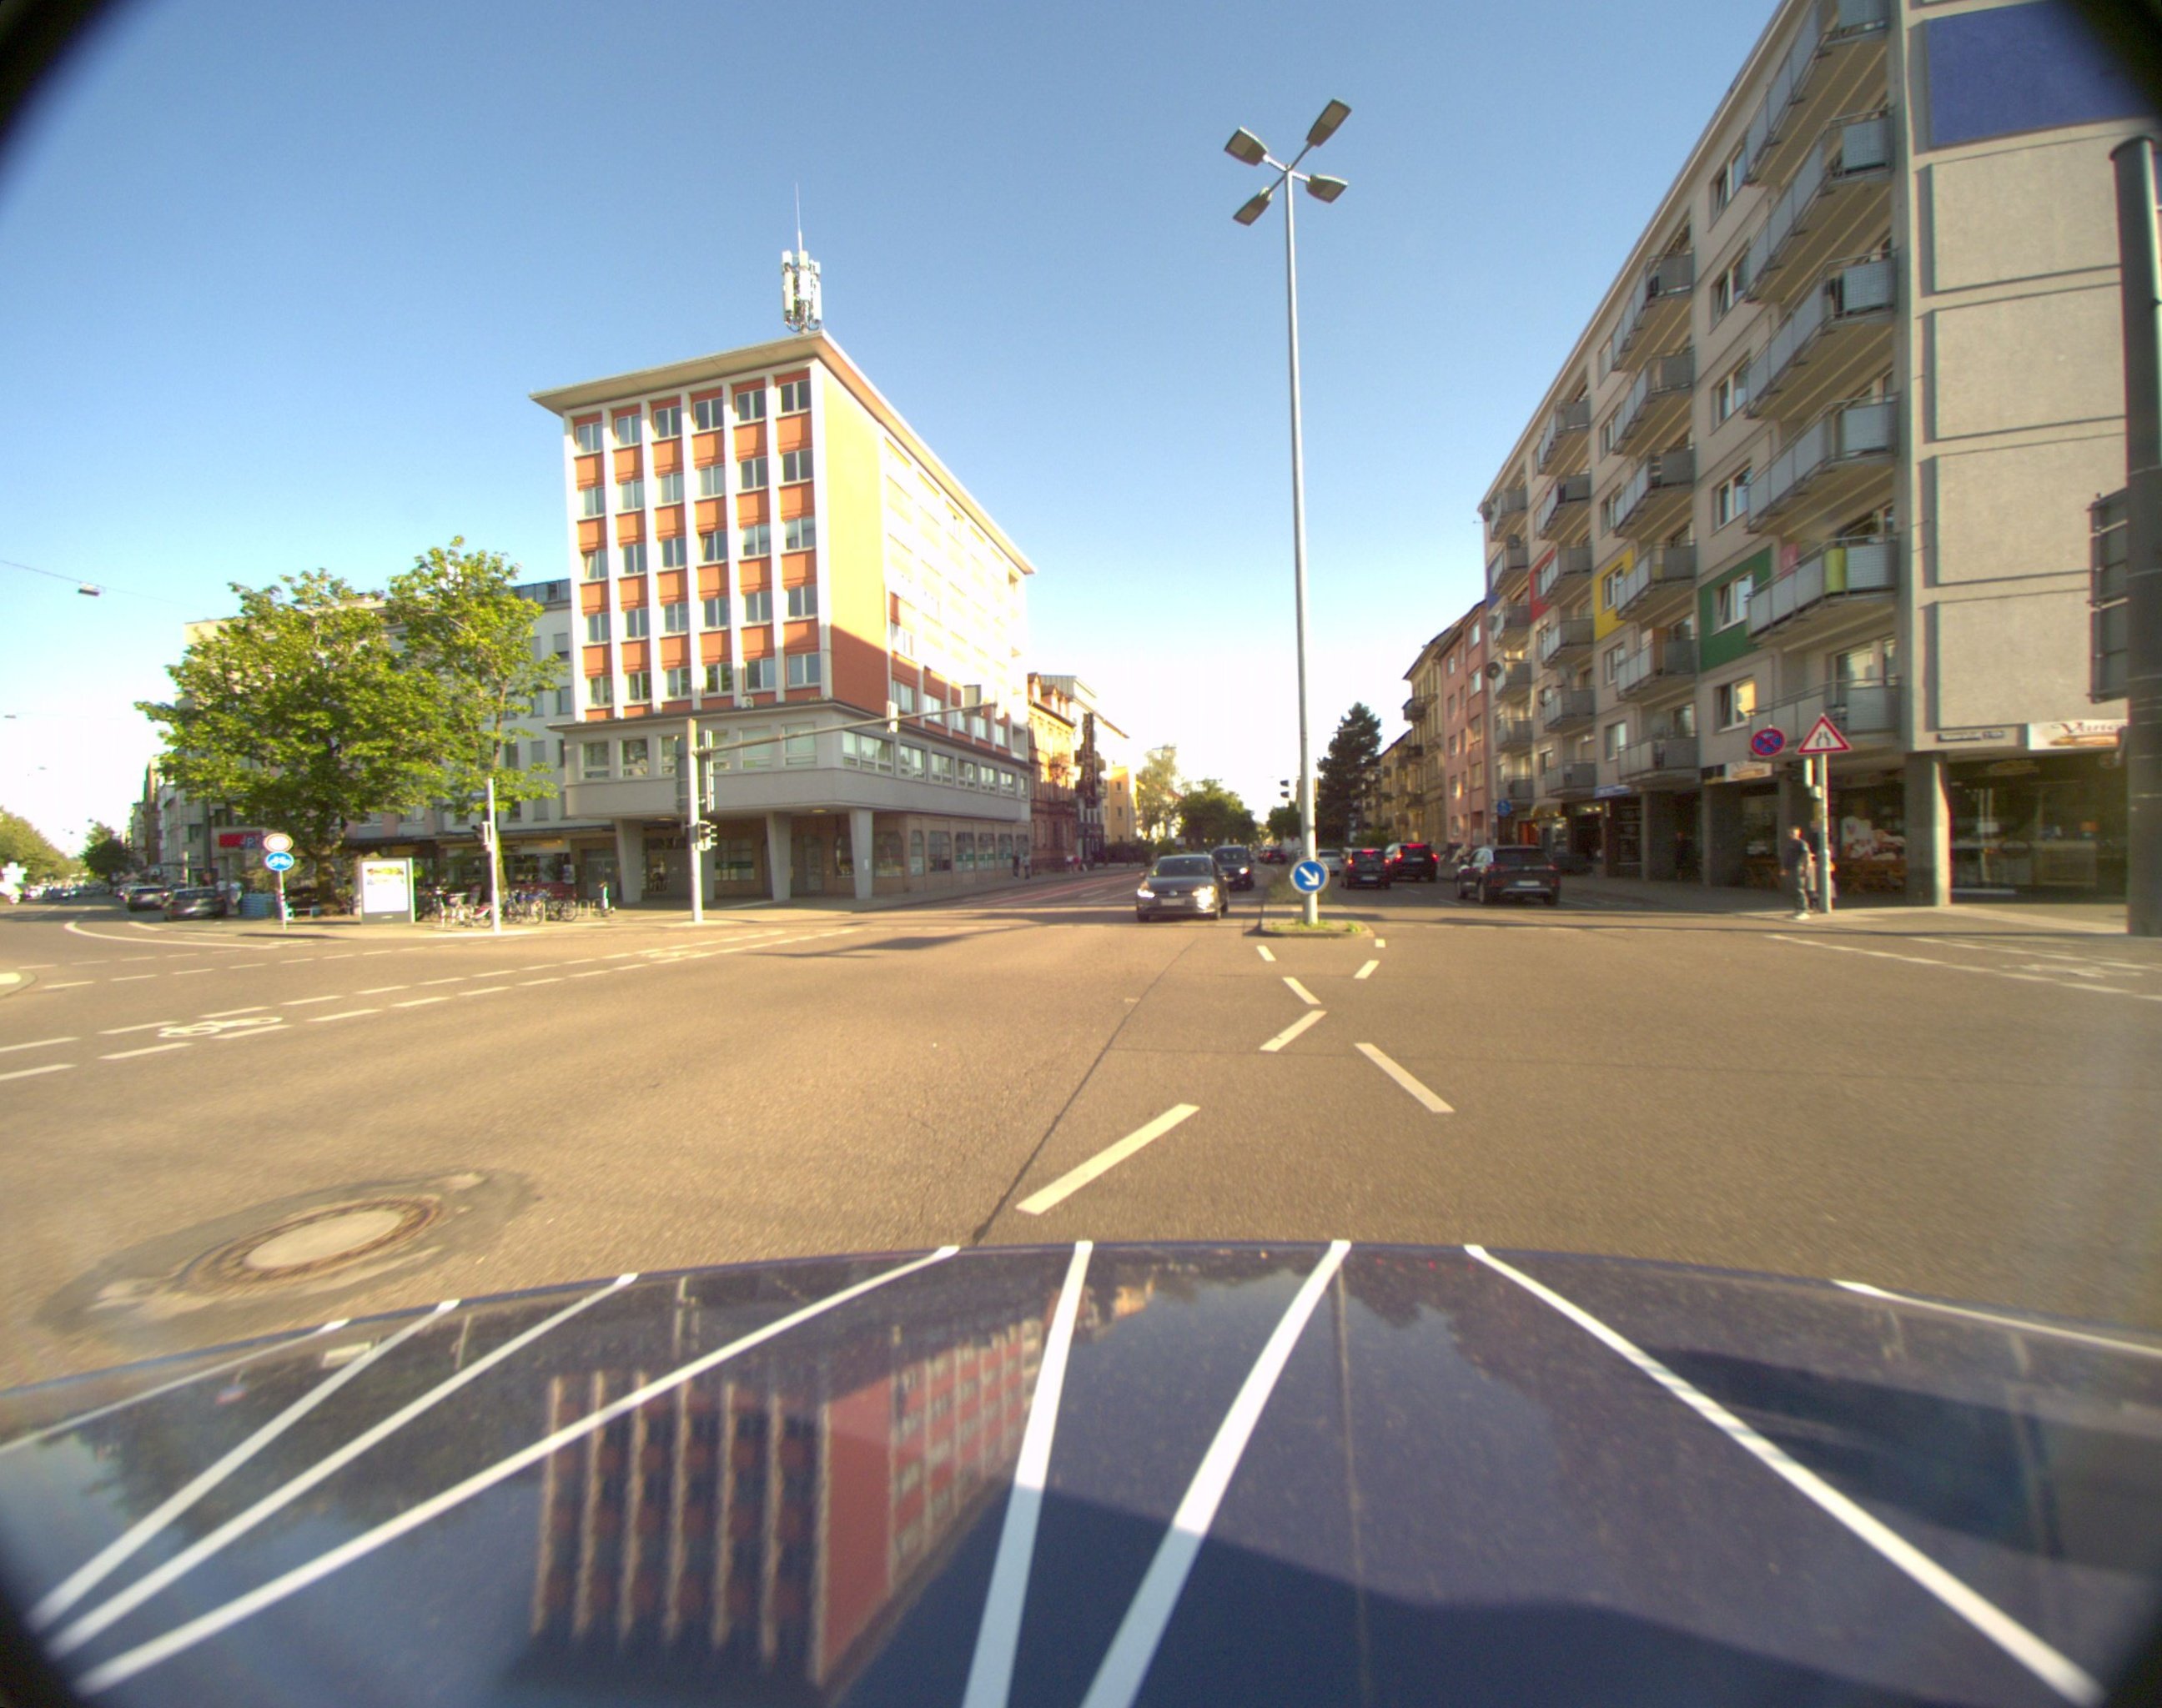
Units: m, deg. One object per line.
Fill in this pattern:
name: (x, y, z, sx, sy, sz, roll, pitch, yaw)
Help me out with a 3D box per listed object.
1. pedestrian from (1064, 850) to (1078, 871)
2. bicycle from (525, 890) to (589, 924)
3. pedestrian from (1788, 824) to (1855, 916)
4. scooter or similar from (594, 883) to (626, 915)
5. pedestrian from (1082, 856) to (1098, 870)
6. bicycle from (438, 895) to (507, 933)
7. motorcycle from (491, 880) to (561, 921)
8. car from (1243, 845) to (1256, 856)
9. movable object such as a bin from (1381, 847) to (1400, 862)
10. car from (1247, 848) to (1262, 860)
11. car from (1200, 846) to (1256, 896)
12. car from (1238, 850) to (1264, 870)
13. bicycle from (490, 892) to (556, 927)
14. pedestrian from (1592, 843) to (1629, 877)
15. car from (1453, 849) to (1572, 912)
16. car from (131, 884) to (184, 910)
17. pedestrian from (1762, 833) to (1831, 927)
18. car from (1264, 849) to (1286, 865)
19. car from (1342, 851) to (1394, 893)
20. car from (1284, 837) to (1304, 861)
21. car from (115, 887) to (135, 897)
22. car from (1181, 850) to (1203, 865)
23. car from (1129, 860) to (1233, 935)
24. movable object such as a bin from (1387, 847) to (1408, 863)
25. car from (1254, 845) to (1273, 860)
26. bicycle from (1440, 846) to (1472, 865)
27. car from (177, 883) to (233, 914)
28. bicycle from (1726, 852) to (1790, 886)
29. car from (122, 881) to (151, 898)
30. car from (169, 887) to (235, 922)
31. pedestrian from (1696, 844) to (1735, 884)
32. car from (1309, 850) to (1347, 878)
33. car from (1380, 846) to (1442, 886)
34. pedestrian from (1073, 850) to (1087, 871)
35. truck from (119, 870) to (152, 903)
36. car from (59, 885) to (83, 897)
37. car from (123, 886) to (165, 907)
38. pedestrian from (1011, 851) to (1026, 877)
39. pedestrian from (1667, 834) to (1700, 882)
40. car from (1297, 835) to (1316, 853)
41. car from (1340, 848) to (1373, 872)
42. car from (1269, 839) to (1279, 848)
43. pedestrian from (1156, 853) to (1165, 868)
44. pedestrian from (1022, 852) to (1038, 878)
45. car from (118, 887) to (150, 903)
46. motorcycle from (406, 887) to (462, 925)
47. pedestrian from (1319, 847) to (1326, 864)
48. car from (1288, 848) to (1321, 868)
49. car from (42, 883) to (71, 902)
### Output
pedestrian: (-0.770, 0.531, 59.066, 0.785, 1.579, 1.012, 3, 2, 19)
bicycle: (-18.427, 1.858, 26.732, 2.058, 1.108, 0.594, 0, 1, 12)
pedestrian: (15.652, 0.333, 16.089, 0.609, 1.864, 0.813, -4, 0, 16)
scooter or similar: (-19.039, 1.796, 30.710, 1.557, 1.228, 0.485, 0, 2, 34)
pedestrian: (0.767, 0.773, 64.965, 1.099, 1.129, 0.925, -2, 1, 13)
bicycle: (-19.130, 1.864, 23.895, 1.974, 1.109, 0.594, 0, 1, 13)
motorcycle: (-21.136, 1.737, 29.026, 0.843, 1.384, 2.267, -3, 0, 3)
car: (24.171, -0.494, 108.886, 1.755, 1.479, 4.252, -1, 0, 12)
movable object such as a bin: (25.526, 0.063, 62.598, 1.195, 1.225, 0.847, -2, 1, -25)
car: (21.933, -0.018, 96.165, 1.595, 1.462, 3.988, -1, 0, 9)
car: (5.984, 0.617, 30.601, 1.893, 1.843, 4.471, 0, 1, 15)
car: (14.047, 0.460, 62.593, 1.905, 1.532, 4.004, -2, 1, 15)
bicycle: (-18.724, 1.860, 25.500, 2.003, 1.108, 0.594, 0, 1, 13)
pedestrian: (21.381, 0.252, 30.709, 0.973, 1.338, 0.884, -2, 1, 15)
car: (11.608, 0.664, 20.746, 1.797, 1.556, 4.152, -1, 0, 15)
car: (-60.847, 2.806, 50.058, 3.863, 1.547, 1.968, -2, 1, 36)
pedestrian: (14.036, 0.502, 14.930, 0.609, 1.776, 0.813, -4, 0, 19)
car: (18.925, 0.239, 74.298, 1.678, 1.535, 4.105, 0, 0, 9)
car: (10.976, 0.644, 29.221, 1.580, 1.535, 3.481, 0, 0, 15)
car: (24.610, -0.561, 88.031, 2.133, 2.740, 4.471, 0, 1, 14)
car: (-134.045, 5.303, 106.534, 3.415, 1.366, 1.499, -2, 1, 36)
car: (12.092, 0.340, 82.638, 1.903, 1.508, 4.079, -2, 0, 16)
car: (2.459, 0.922, 17.736, 1.769, 1.450, 4.275, -3, -1, 16)
movable object such as a bin: (25.676, 0.057, 61.632, 1.294, 1.225, 0.927, -2, 1, -25)
car: (20.250, -0.183, 84.454, 1.722, 1.619, 4.105, 0, 0, 8)
bicycle: (24.458, 0.093, 49.596, 1.778, 1.184, 0.474, -2, 1, 13)
car: (-48.191, 2.405, 41.783, 3.626, 1.537, 1.644, -2, 1, 36)
bicycle: (21.323, 0.461, 23.982, 0.626, 0.993, 1.698, -2, 1, 6)
car: (-102.659, 3.876, 82.575, 3.570, 1.692, 1.774, -1, 1, 36)
car: (-40.496, 2.293, 34.981, 3.626, 1.419, 1.644, -2, 1, 36)
pedestrian: (21.012, 0.321, 25.153, 0.626, 1.306, 0.809, -2, 1, -29)
car: (13.923, 0.541, 42.983, 1.678, 1.535, 3.809, 0, 0, 12)
car: (15.063, 0.501, 34.906, 1.818, 1.701, 4.790, 0, 0, 13)
pedestrian: (-0.090, 0.523, 58.713, 0.737, 1.579, 1.012, 3, 2, 19)
truck: (-97.168, 3.329, 78.083, 6.389, 3.201, 1.743, -1, 1, 36)
car: (-127.178, 4.636, 95.679, 3.766, 1.316, 1.681, -2, 1, 36)
car: (-69.739, 3.138, 56.539, 3.381, 1.376, 1.744, -2, 1, 36)
pedestrian: (-4.193, 0.643, 51.039, 0.667, 1.716, 1.012, -1, 1, 16)
pedestrian: (21.101, 0.134, 26.624, 0.626, 1.662, 0.657, -2, 1, -21)
car: (20.066, -0.860, 67.556, 1.537, 1.583, 2.811, 0, 0, 15)
car: (18.132, 0.364, 50.112, 1.678, 1.535, 3.641, 0, 0, 14)
car: (32.846, -1.724, 129.269, 1.593, 1.533, 3.408, 0, 1, 17)
pedestrian: (8.392, 0.665, 80.126, 0.737, 1.593, 1.012, 1, 2, 19)
pedestrian: (-3.408, 0.715, 50.753, 0.667, 1.716, 1.012, -1, 1, 16)
car: (-91.198, 3.967, 73.147, 3.614, 1.376, 1.743, -2, 1, 36)
motorcycle: (-23.711, 1.891, 27.846, 2.051, 1.300, 0.892, -1, 2, 30)
pedestrian: (23.881, 0.147, 75.164, 0.577, 1.591, 0.482, -2, 1, 15)
car: (17.039, 0.290, 58.036, 1.712, 1.417, 4.104, 0, 0, 6)
car: (-105.749, 3.938, 78.415, 3.479, 1.803, 1.653, -1, 1, 36)
